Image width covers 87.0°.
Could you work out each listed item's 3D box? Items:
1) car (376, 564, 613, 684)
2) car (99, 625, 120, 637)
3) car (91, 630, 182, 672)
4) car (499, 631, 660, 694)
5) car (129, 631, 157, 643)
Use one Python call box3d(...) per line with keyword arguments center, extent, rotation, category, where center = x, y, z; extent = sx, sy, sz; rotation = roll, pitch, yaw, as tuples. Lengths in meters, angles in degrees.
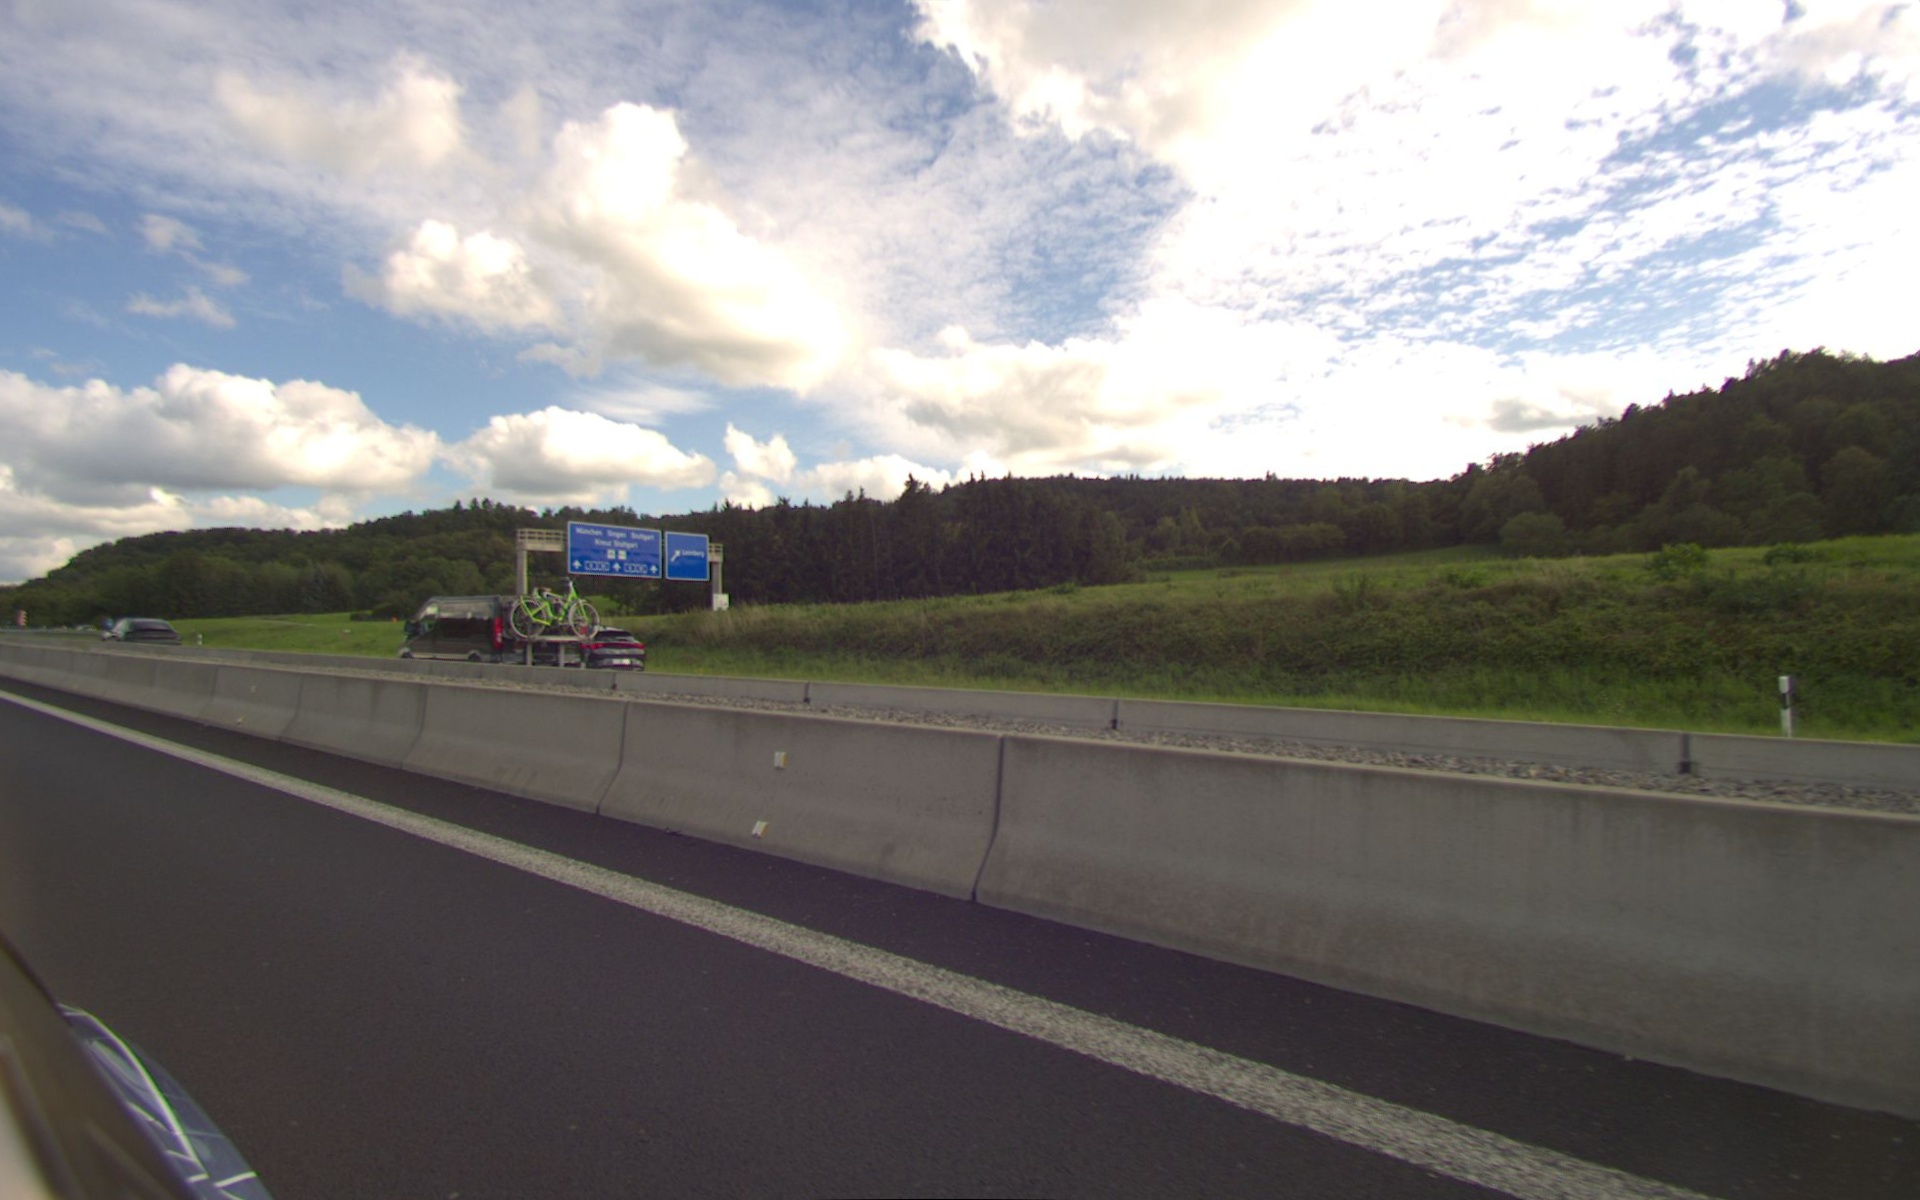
box3d(center=(-9.227, 0.479, 19.757), extent=(5.838, 2.029, 1.973), rotation=(-1, -3, 41), category="car")
box3d(center=(-152.899, 5.592, 181.993), extent=(3.993, 2.029, 1.975), rotation=(-1, -3, 37), category="car")
box3d(center=(-33.444, 2.042, 41.052), extent=(5.362, 1.585, 1.973), rotation=(-1, -3, 41), category="car")
box3d(center=(-10.054, 1.588, 26.577), extent=(4.689, 1.490, 1.973), rotation=(-1, -3, 41), category="car")
box3d(center=(-114.658, 5.186, 142.096), extent=(4.879, 1.560, 1.757), rotation=(-1, -3, 35), category="car")
